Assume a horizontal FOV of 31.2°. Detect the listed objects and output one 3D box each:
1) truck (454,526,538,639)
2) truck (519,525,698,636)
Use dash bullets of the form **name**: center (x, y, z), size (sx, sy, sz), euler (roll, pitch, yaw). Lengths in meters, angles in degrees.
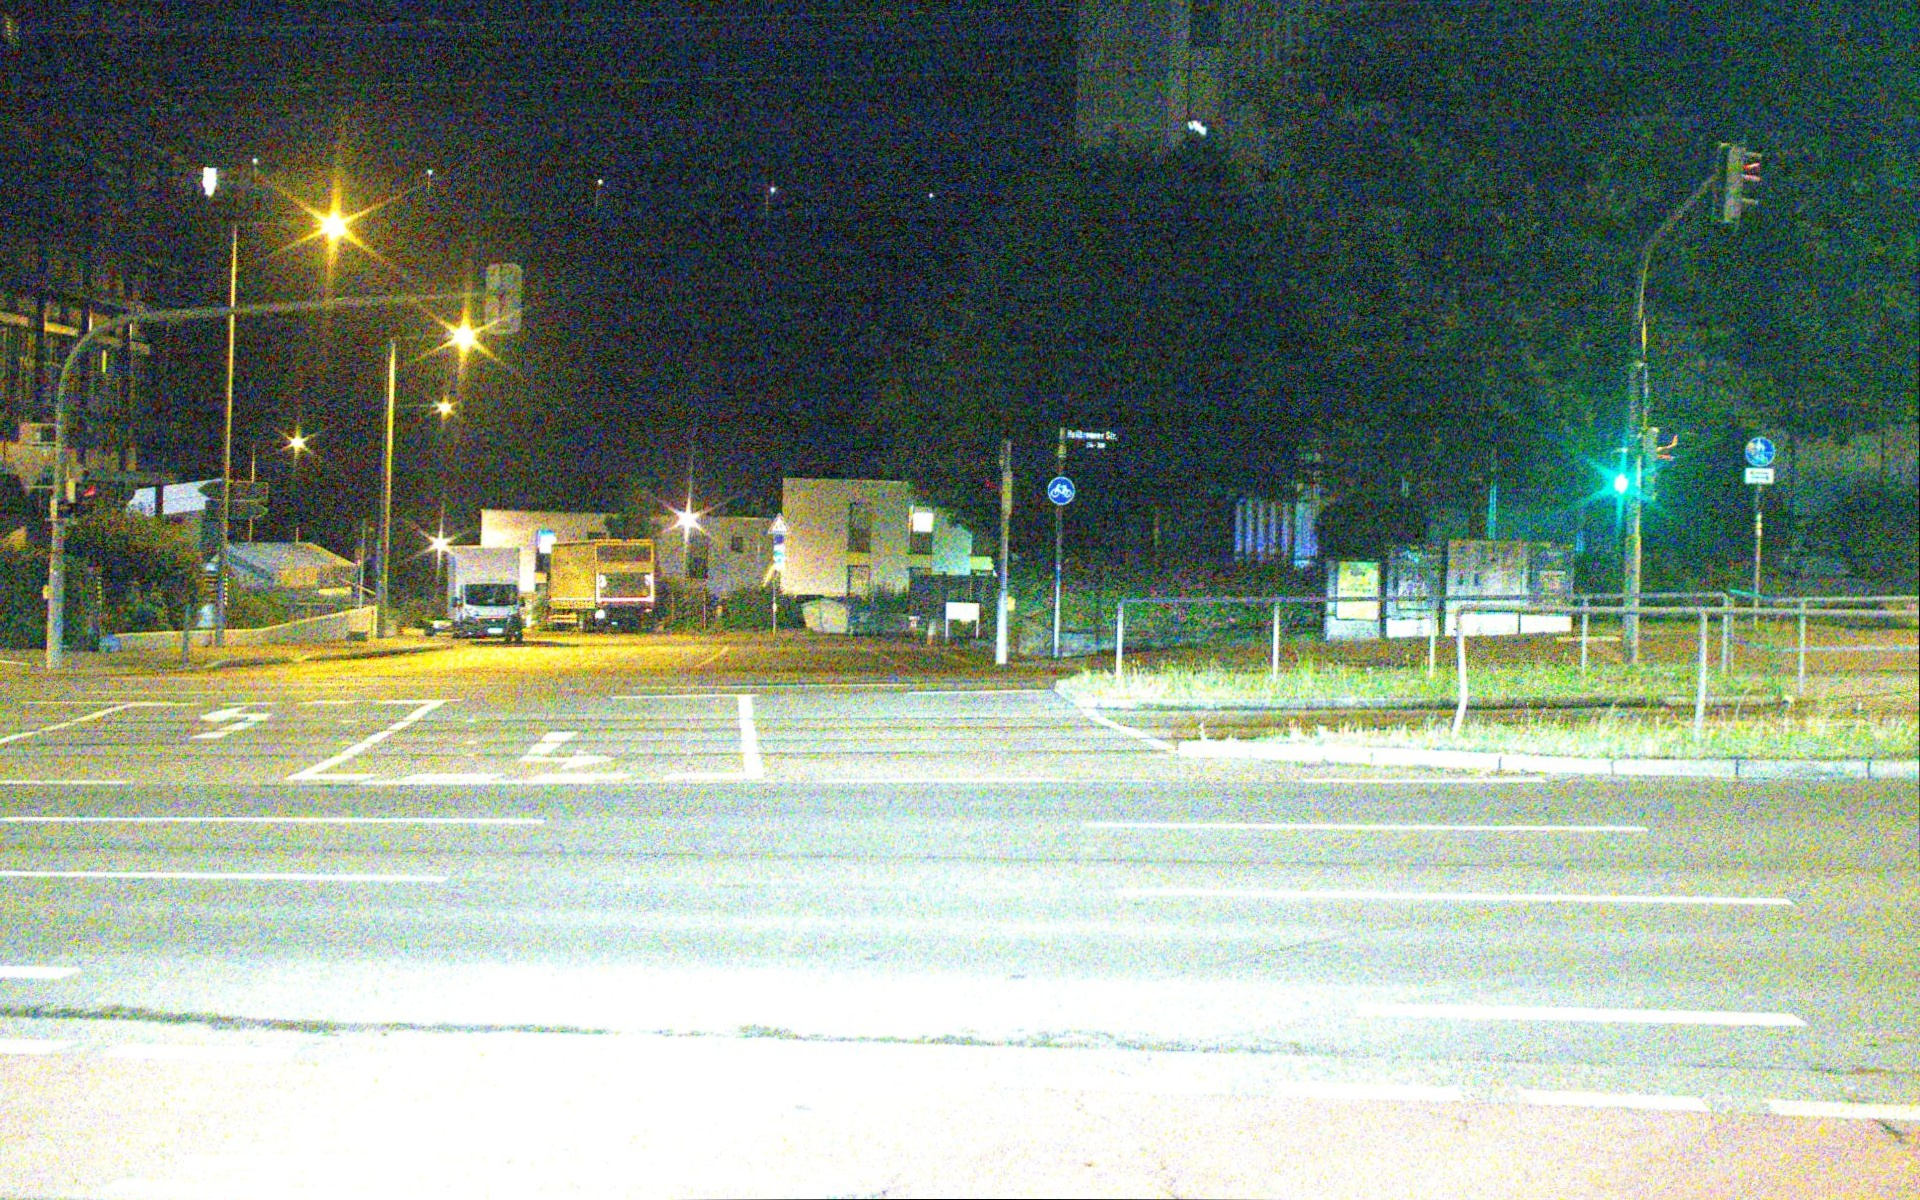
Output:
- **truck**: center (-15.885, -0.618, 117.499), size (2.582, 3.694, 5.739), euler (1, 1, -9)
- **truck**: center (-15.436, -0.908, 149.652), size (4.821, 4.531, 12.669), euler (1, 1, -20)
